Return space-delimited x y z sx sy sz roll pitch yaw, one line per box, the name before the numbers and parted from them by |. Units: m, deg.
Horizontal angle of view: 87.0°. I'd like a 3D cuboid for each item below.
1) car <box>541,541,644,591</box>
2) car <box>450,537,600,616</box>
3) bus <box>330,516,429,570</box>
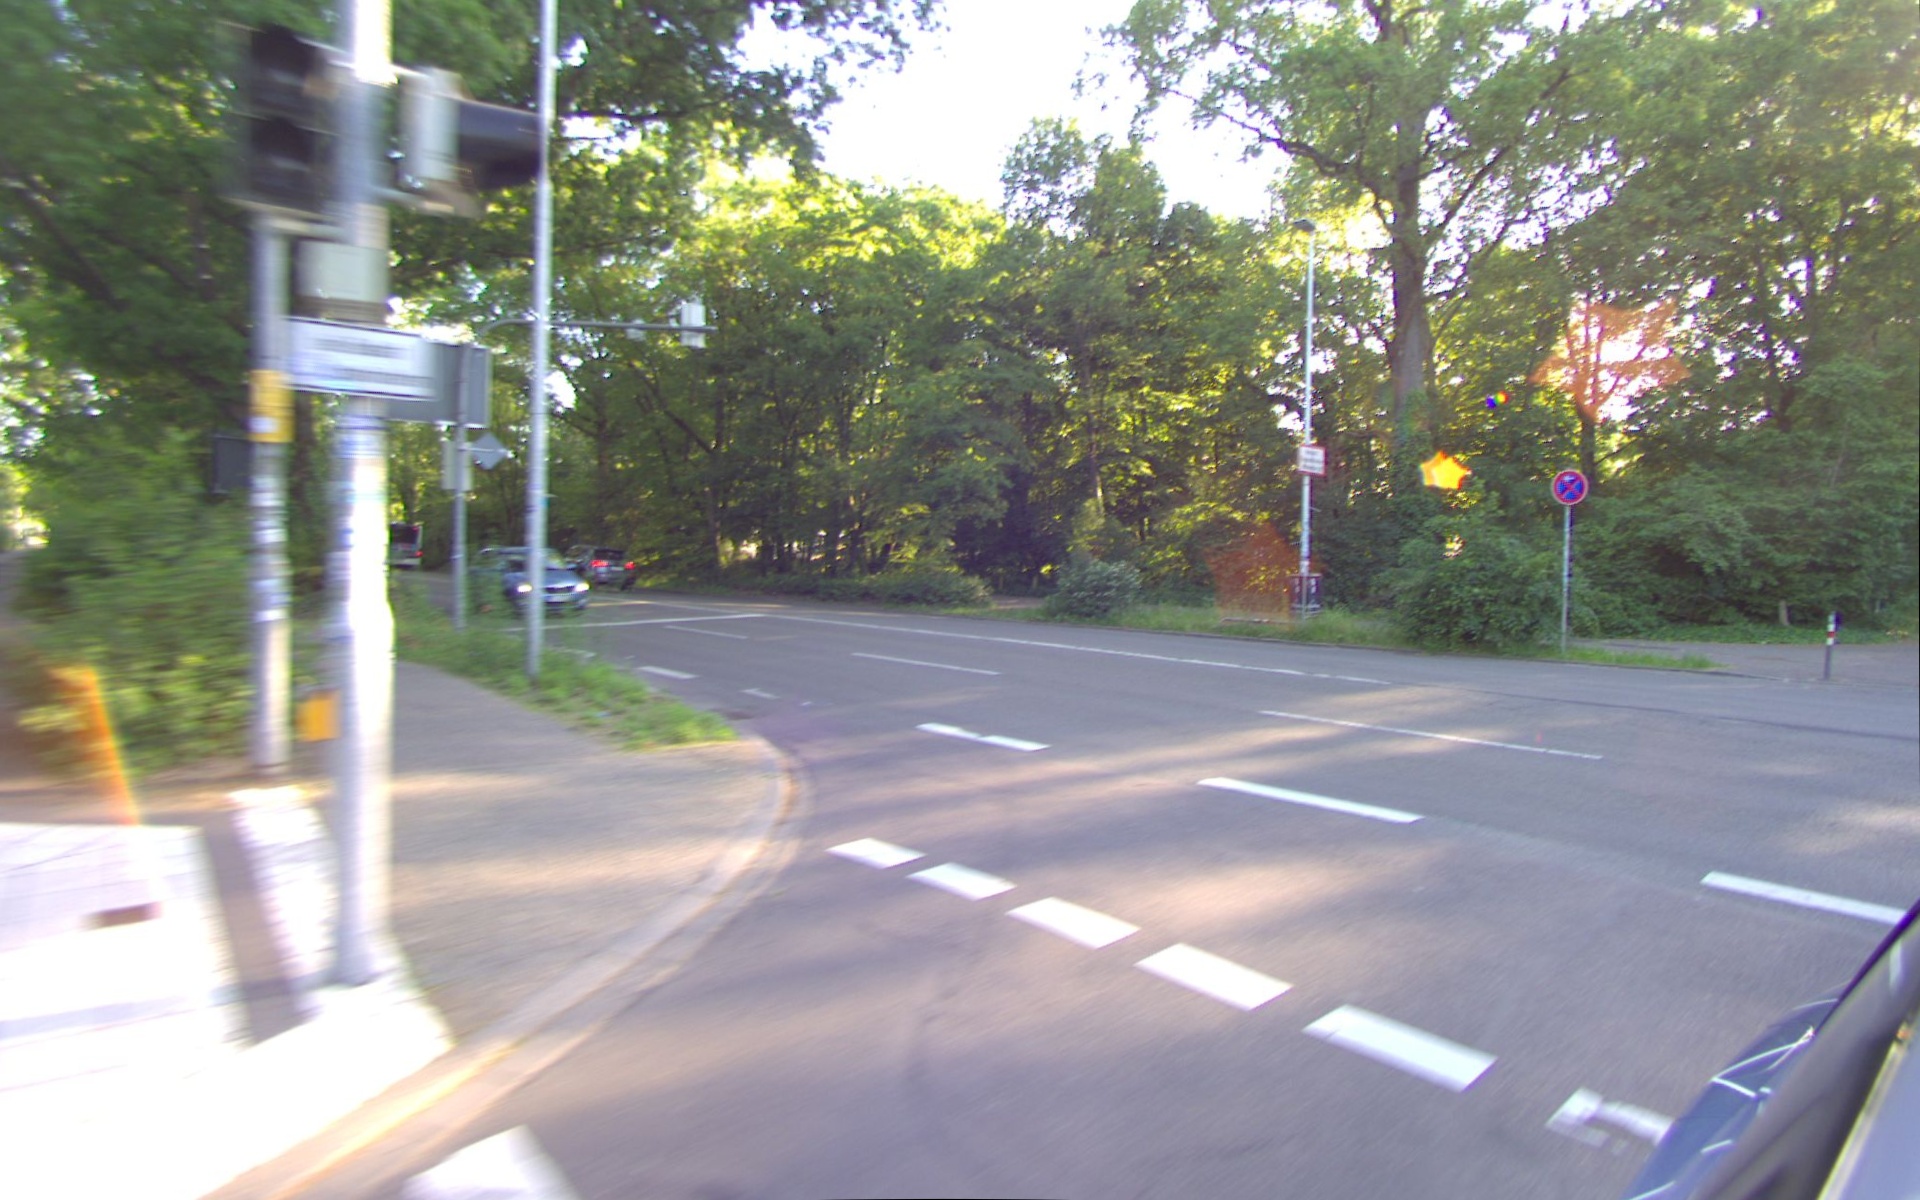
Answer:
car | -13.553 -1.260 37.178 1.960 1.627 4.355 3 0 -43
car | -9.916 -0.617 22.907 1.782 1.598 4.312 -4 5 -42
bus | -38.515 -3.780 66.833 2.970 3.126 12.248 3 1 -42
